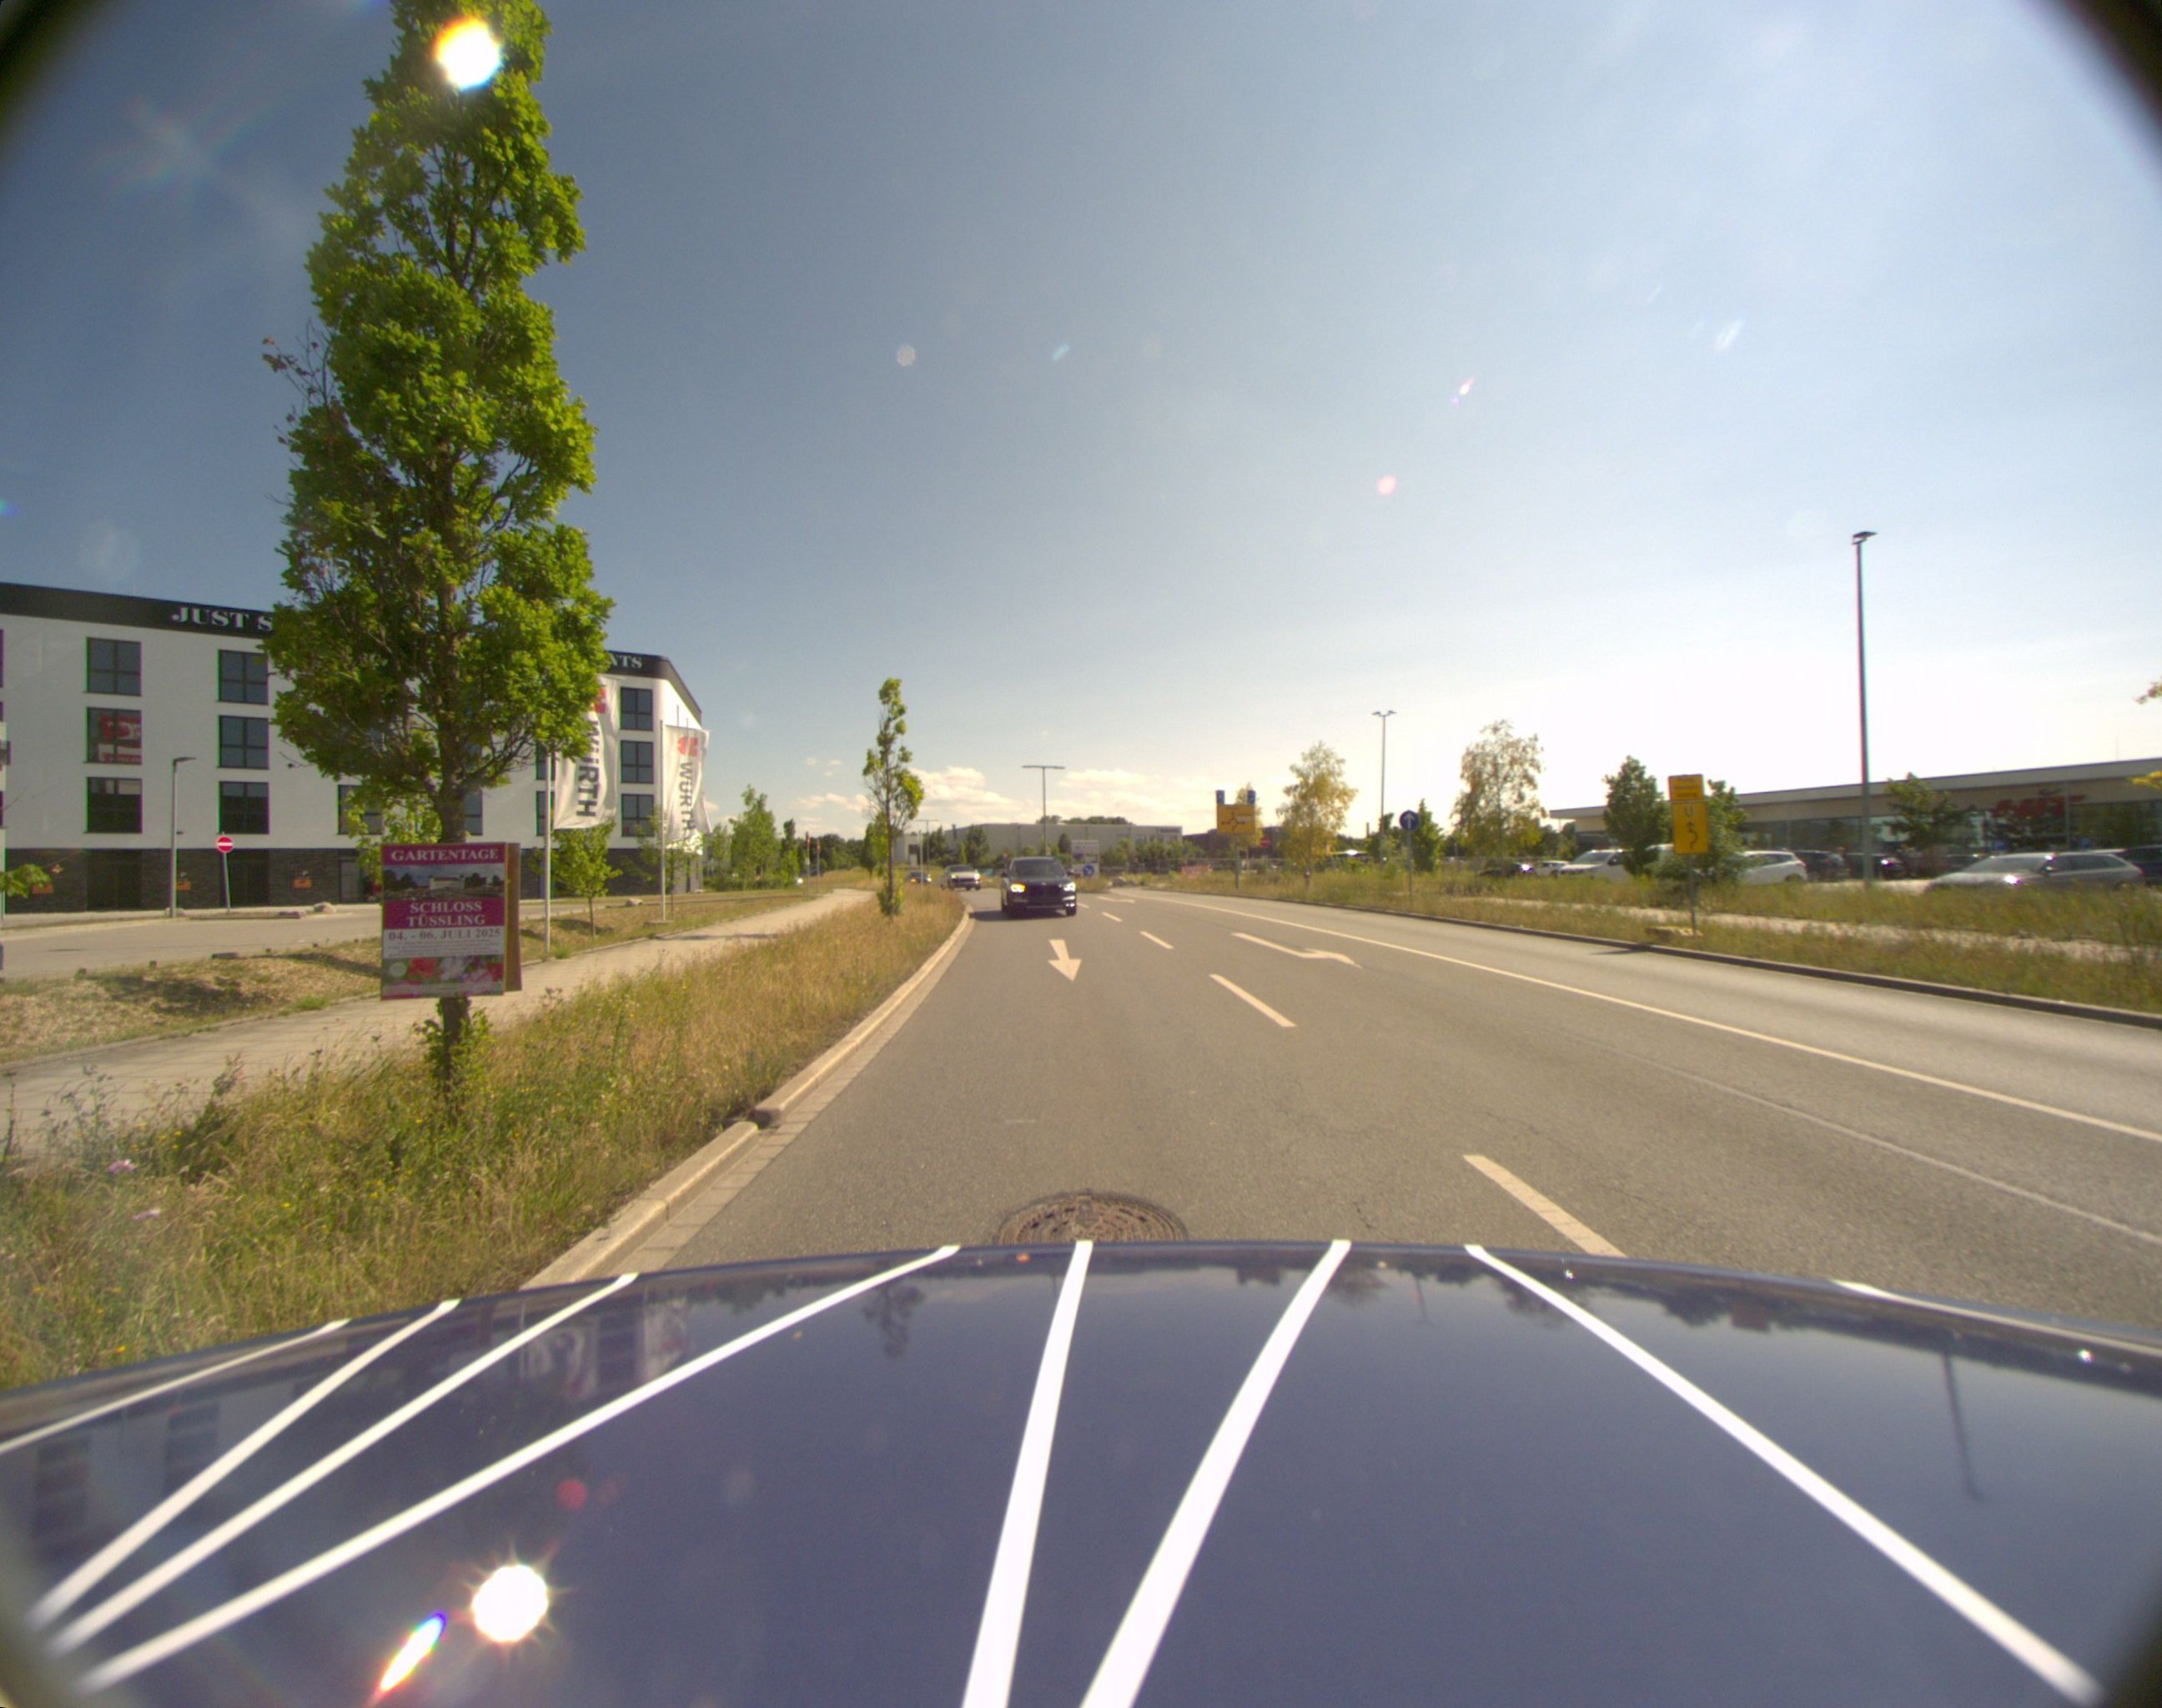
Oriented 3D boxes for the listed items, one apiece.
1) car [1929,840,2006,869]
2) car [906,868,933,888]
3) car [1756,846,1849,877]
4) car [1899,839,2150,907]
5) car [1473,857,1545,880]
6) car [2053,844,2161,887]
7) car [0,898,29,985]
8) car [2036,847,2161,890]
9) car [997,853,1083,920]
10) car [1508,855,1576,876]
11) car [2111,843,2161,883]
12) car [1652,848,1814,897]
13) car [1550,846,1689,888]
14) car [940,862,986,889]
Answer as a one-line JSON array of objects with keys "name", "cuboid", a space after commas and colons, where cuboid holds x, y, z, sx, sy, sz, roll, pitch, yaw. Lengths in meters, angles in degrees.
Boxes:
[{"name": "car", "cuboid": [50.038, 0.049, 42.888, 4.360, 1.555, 1.714, -1, 0, -25]}, {"name": "car", "cuboid": [-14.482, 2.160, 68.029, 1.759, 1.677, 4.374, -1, 0, -20]}, {"name": "car", "cuboid": [37.817, 0.393, 39.839, 4.003, 1.543, 1.841, -1, 0, -19]}, {"name": "car", "cuboid": [25.305, 0.476, 20.472, 4.716, 1.662, 1.999, -1, 0, -6]}, {"name": "car", "cuboid": [33.234, 1.080, 59.119, 2.286, 1.678, 4.411, -1, 0, -25]}, {"name": "car", "cuboid": [38.448, 0.392, 27.169, 1.719, 1.507, 4.233, -1, 0, -19]}, {"name": "car", "cuboid": [-18.297, 1.436, 10.733, 1.518, 1.399, 3.998, -1, 0, -5]}, {"name": "car", "cuboid": [36.140, 0.465, 25.907, 1.719, 1.417, 4.134, -1, 0, -19]}, {"name": "car", "cuboid": [-1.295, 0.927, 21.948, 1.902, 1.669, 4.464, -2, -2, -10]}, {"name": "car", "cuboid": [38.270, 0.948, 63.215, 1.978, 1.678, 4.567, -1, 0, -22]}, {"name": "car", "cuboid": [43.774, 0.340, 29.401, 1.719, 1.578, 4.348, -1, 0, -19]}, {"name": "car", "cuboid": [24.148, 0.655, 28.222, 4.604, 1.662, 1.999, -1, 0, -8]}, {"name": "car", "cuboid": [23.523, 0.554, 33.251, 5.199, 1.662, 1.998, -1, 0, -13]}, {"name": "car", "cuboid": [-7.712, 1.435, 49.389, 2.117, 1.633, 4.771, -1, -2, -19]}]
